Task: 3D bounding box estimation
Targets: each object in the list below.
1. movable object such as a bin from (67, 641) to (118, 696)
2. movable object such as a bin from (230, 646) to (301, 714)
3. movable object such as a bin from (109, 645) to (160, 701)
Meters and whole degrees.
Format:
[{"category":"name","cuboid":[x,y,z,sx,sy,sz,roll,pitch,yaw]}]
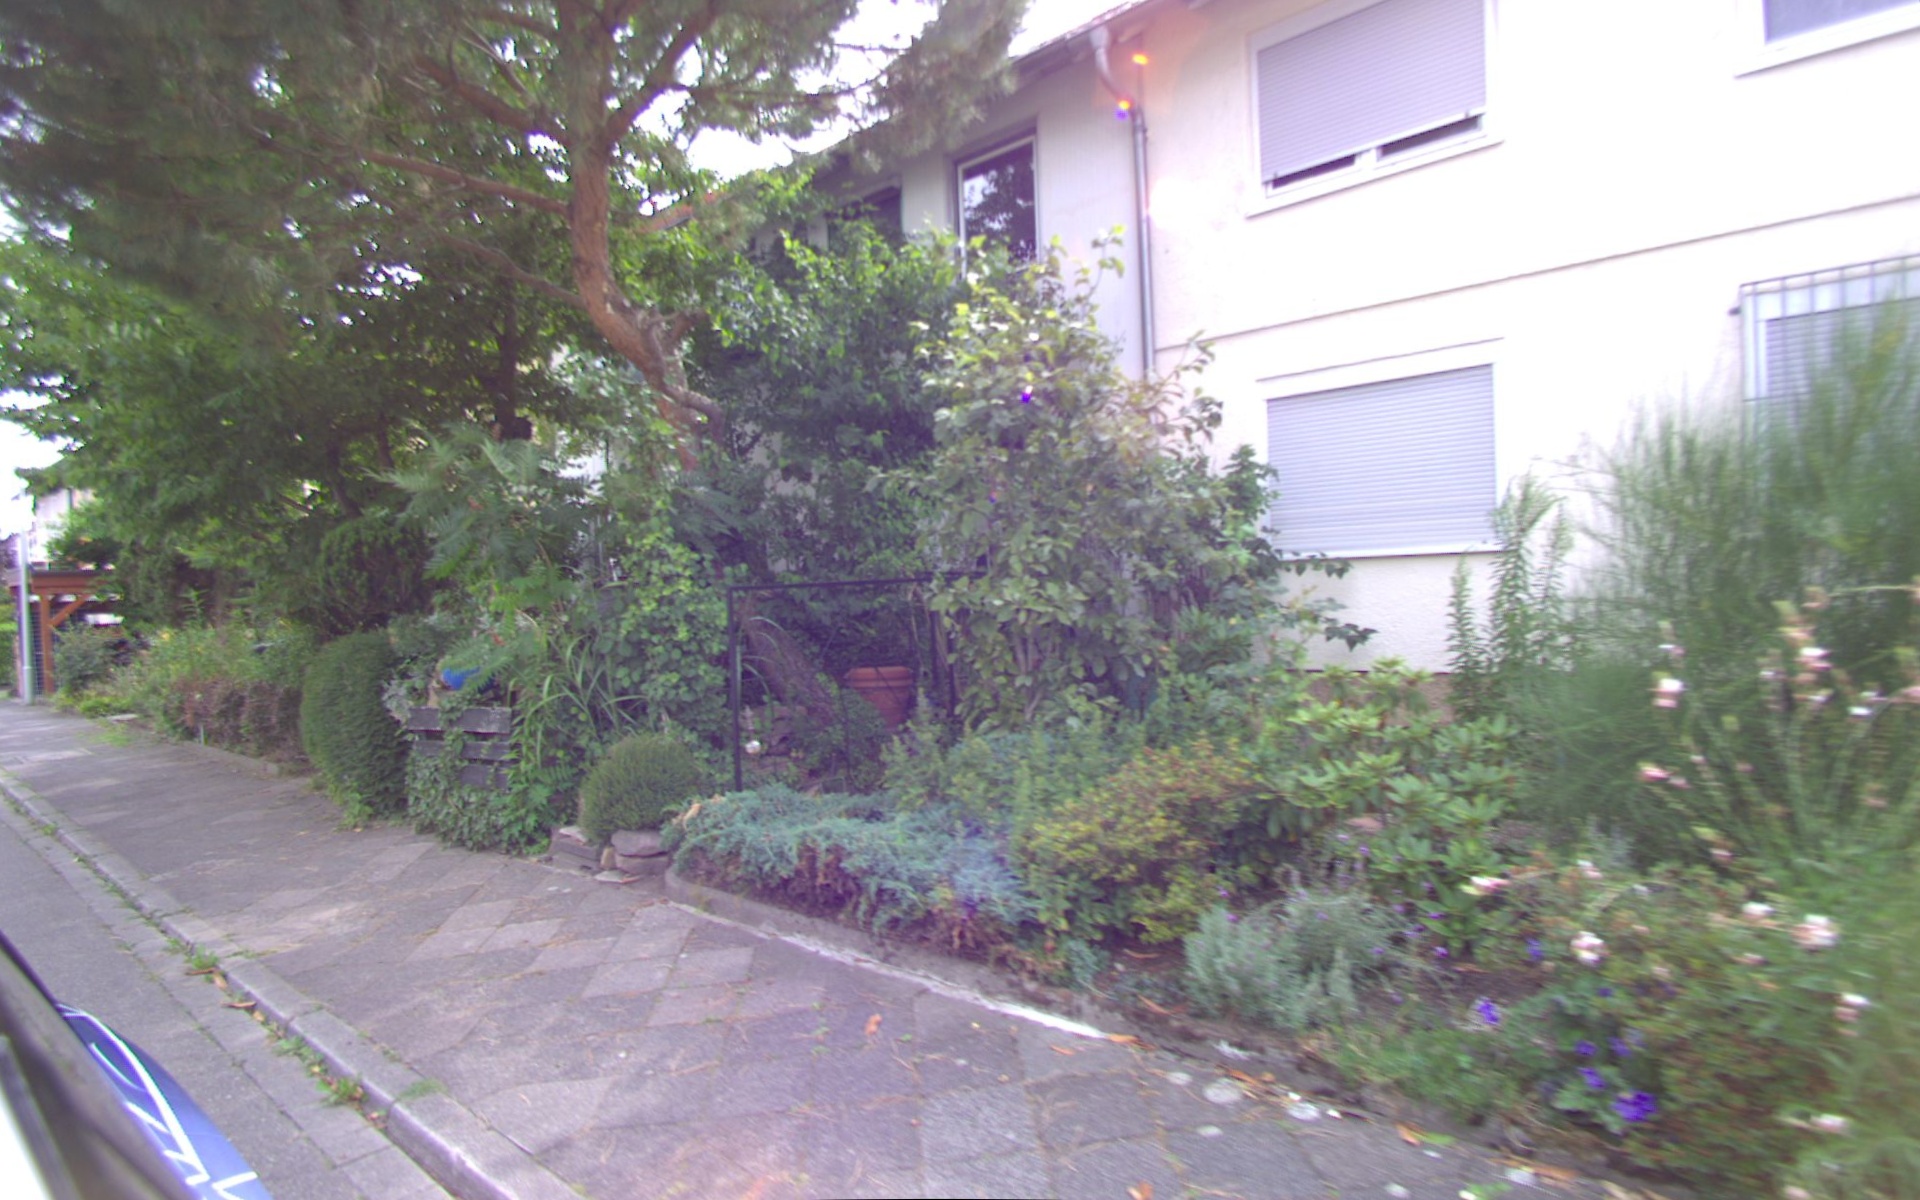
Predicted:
[{"category":"movable object such as a bin","cuboid":[-18.187,1.425,21.211,0.822,1.079,0.696,-2,-1,41]},{"category":"movable object such as a bin","cuboid":[-10.645,1.203,15.512,0.750,0.963,0.704,-2,0,41]},{"category":"movable object such as a bin","cuboid":[-17.735,1.554,21.744,0.877,1.138,0.696,-2,-1,41]}]
